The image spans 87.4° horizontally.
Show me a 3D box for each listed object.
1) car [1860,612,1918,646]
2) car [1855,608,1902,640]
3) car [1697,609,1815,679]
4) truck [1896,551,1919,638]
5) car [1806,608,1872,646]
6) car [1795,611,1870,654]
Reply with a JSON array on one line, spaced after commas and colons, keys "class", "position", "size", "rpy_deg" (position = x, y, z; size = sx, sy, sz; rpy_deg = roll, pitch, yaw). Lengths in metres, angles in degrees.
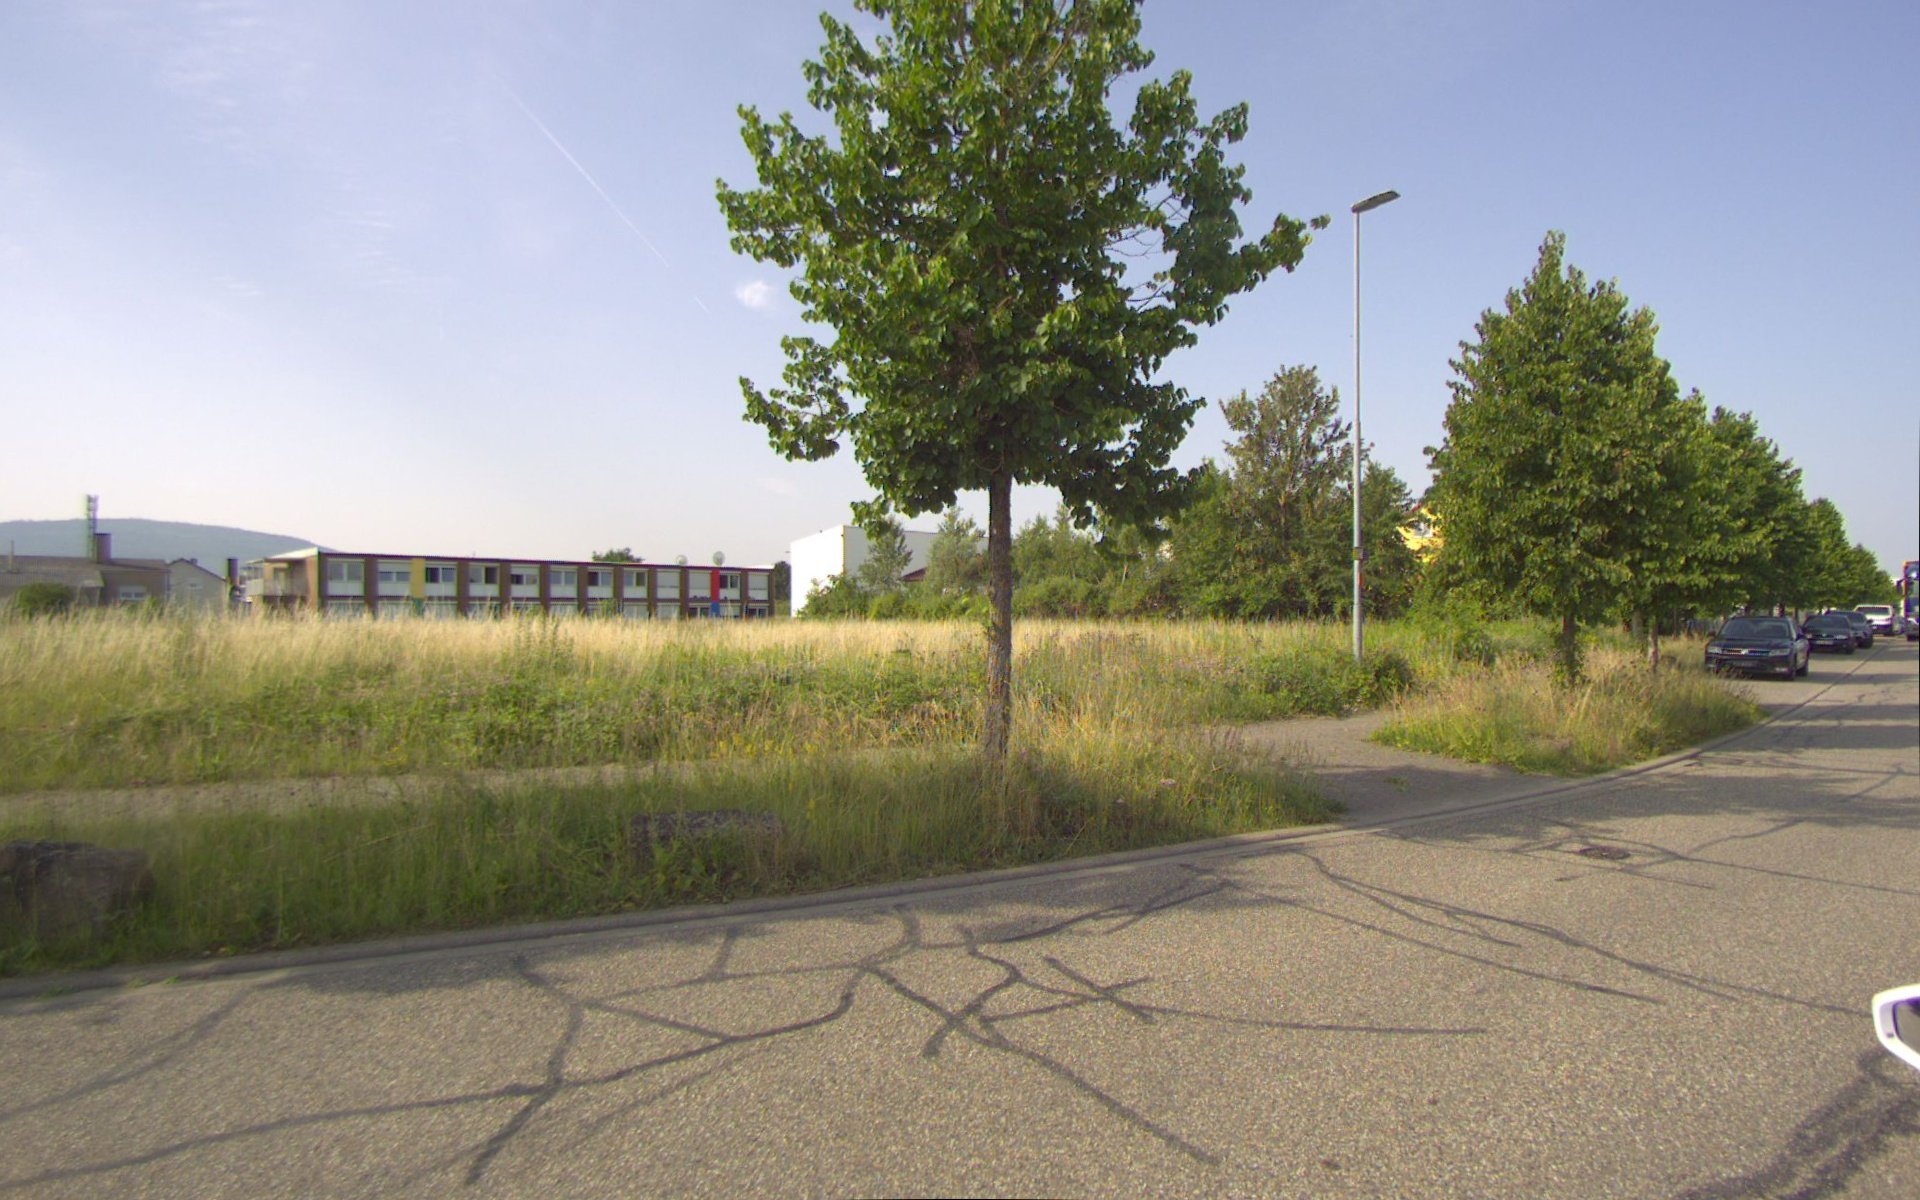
[{"class": "car", "position": [44.608, 1.367, 48.217], "size": [4.022, 1.516, 1.815], "rpy_deg": [0, 1, -44]}, {"class": "car", "position": [54.801, 1.384, 59.933], "size": [4.022, 1.786, 1.815], "rpy_deg": [0, 1, -44]}, {"class": "car", "position": [21.293, 1.102, 26.815], "size": [4.419, 1.648, 1.884], "rpy_deg": [0, 1, -44]}, {"class": "truck", "position": [50.778, -0.252, 52.380], "size": [2.473, 4.200, 10.313], "rpy_deg": [-3, -2, 44]}, {"class": "car", "position": [38.063, 1.150, 43.470], "size": [4.022, 1.516, 1.815], "rpy_deg": [0, 1, -44]}, {"class": "car", "position": [33.936, 1.207, 39.037], "size": [4.022, 1.516, 1.815], "rpy_deg": [0, 1, -44]}]
